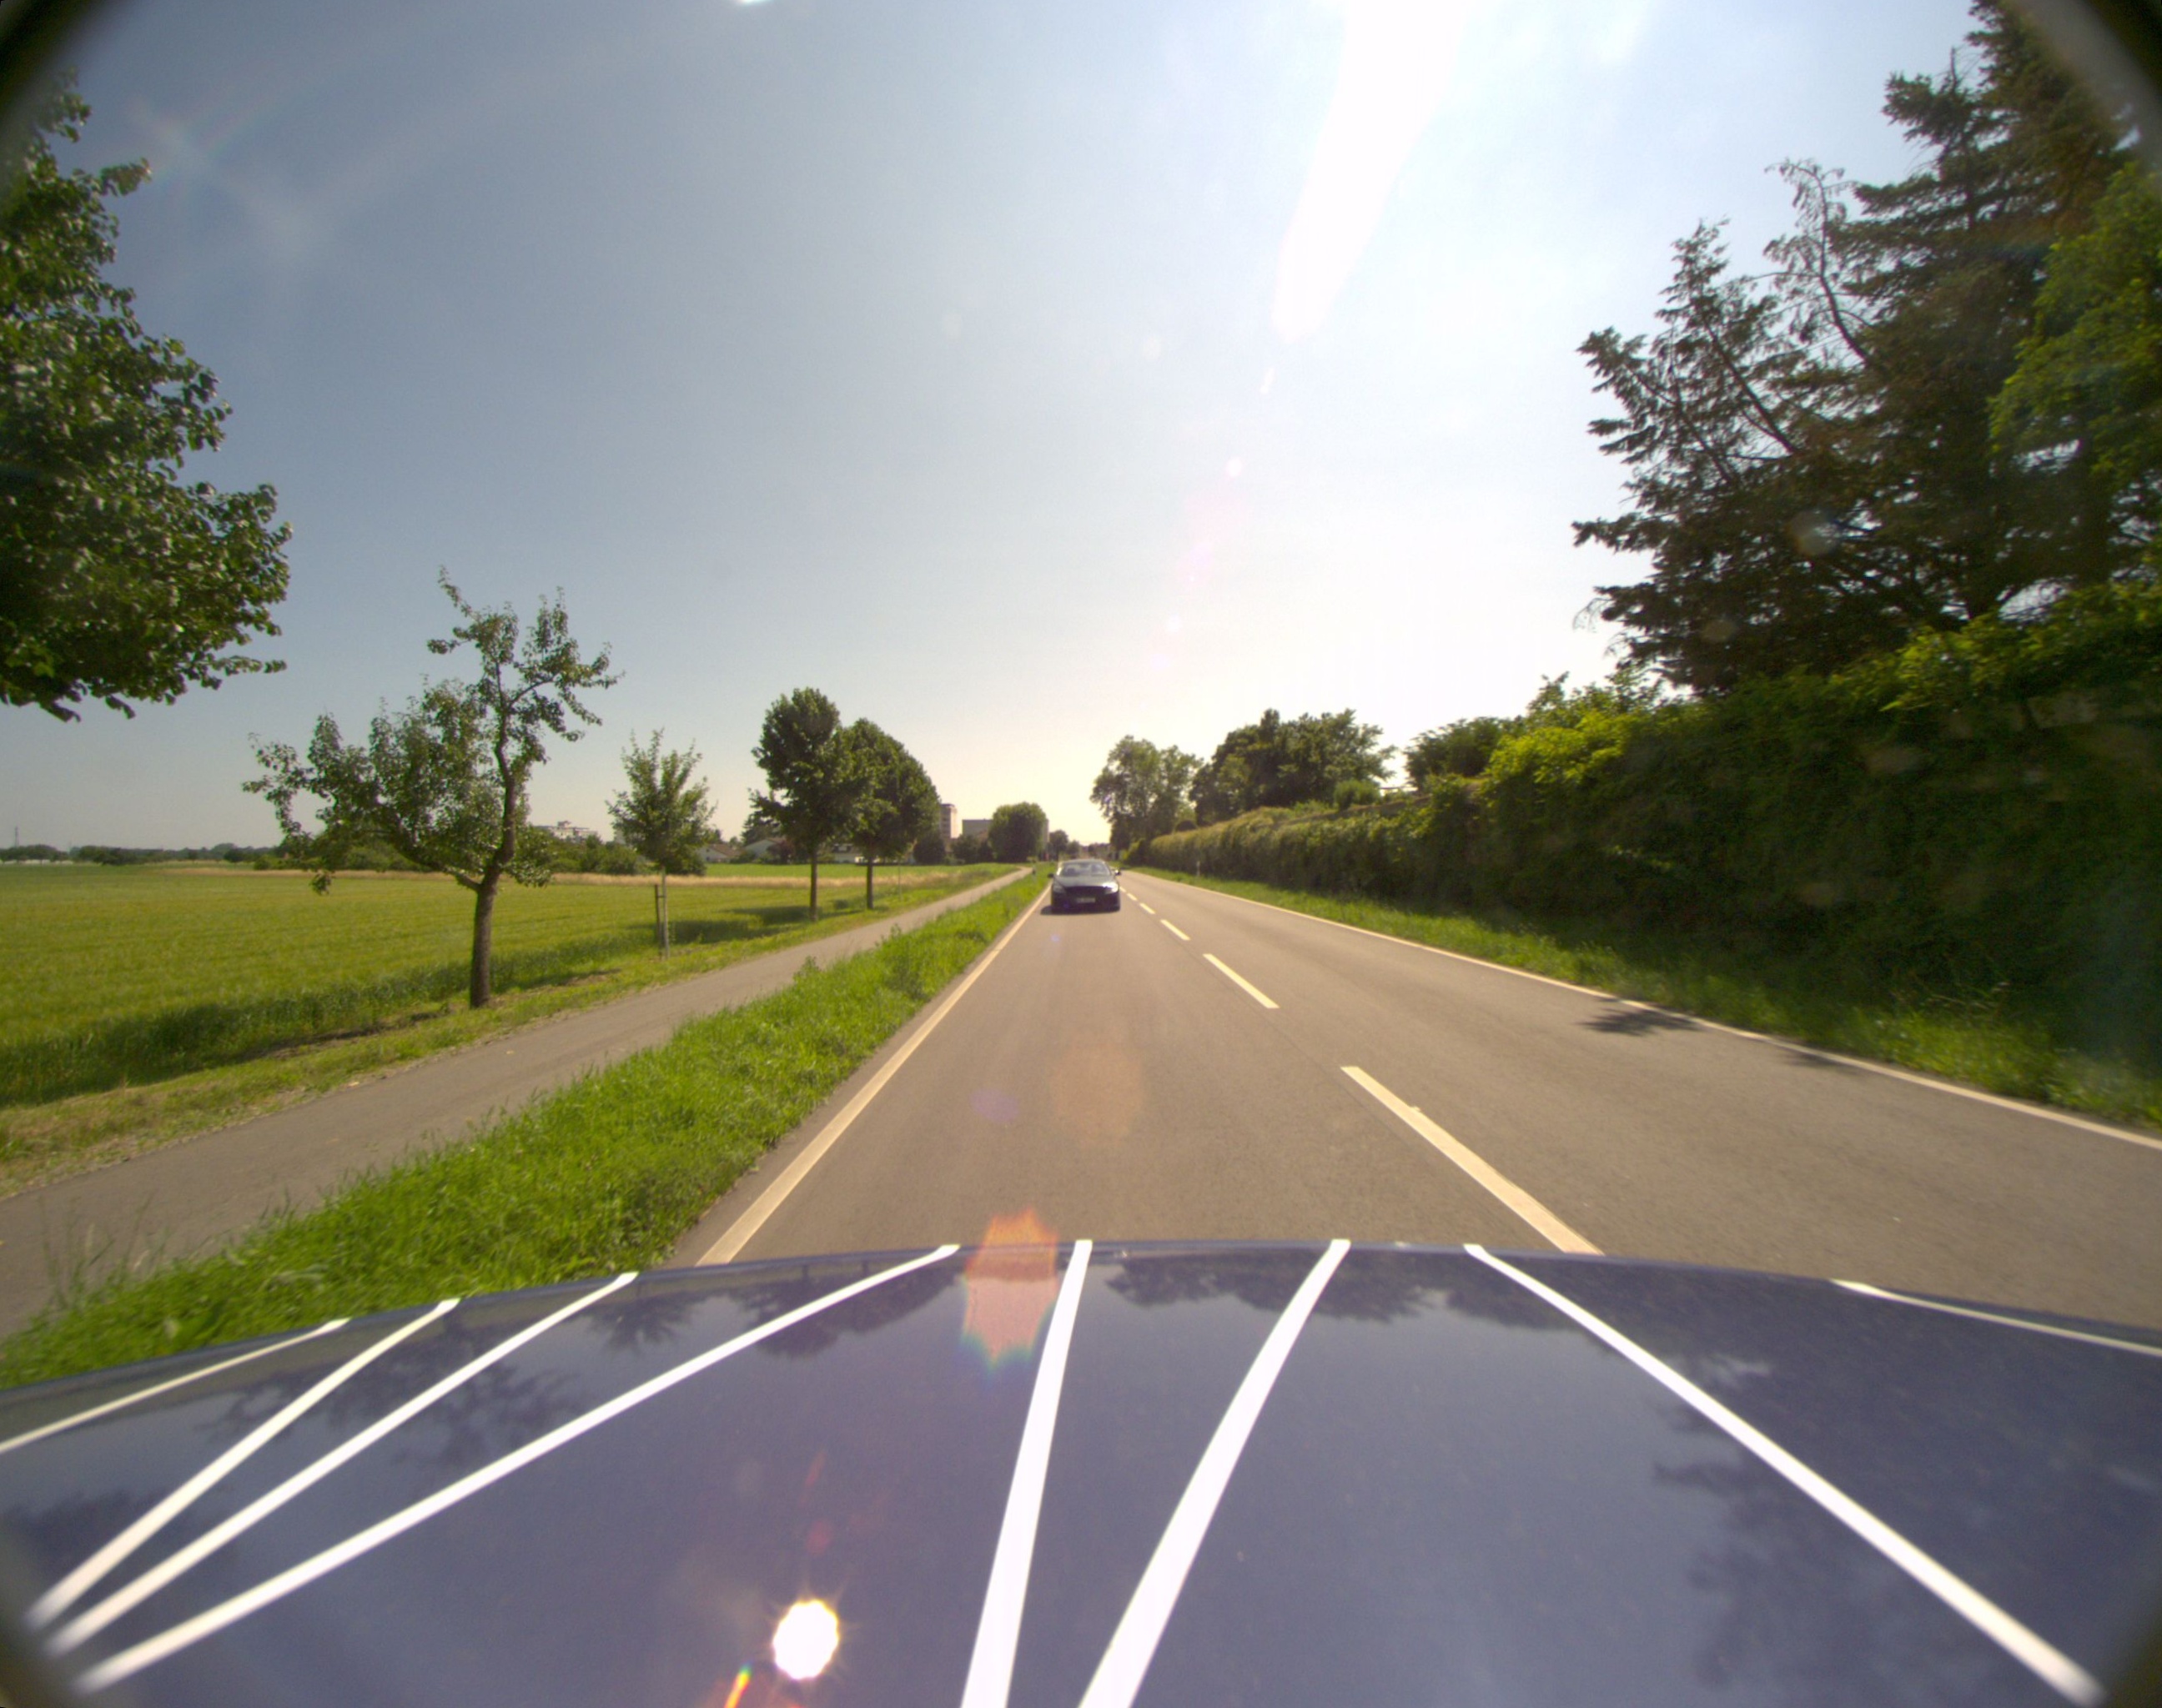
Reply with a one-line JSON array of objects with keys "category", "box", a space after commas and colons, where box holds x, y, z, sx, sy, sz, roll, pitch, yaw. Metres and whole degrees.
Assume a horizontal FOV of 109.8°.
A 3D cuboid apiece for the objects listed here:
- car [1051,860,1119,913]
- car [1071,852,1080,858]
[{"category": "car", "box": [0.076, 0.932, 23.924, 1.889, 1.429, 4.838, -2, 0, -1]}, {"category": "car", "box": [-1.735, 0.279, 225.177, 2.151, 1.940, 5.244, 1, 0, -7]}]
